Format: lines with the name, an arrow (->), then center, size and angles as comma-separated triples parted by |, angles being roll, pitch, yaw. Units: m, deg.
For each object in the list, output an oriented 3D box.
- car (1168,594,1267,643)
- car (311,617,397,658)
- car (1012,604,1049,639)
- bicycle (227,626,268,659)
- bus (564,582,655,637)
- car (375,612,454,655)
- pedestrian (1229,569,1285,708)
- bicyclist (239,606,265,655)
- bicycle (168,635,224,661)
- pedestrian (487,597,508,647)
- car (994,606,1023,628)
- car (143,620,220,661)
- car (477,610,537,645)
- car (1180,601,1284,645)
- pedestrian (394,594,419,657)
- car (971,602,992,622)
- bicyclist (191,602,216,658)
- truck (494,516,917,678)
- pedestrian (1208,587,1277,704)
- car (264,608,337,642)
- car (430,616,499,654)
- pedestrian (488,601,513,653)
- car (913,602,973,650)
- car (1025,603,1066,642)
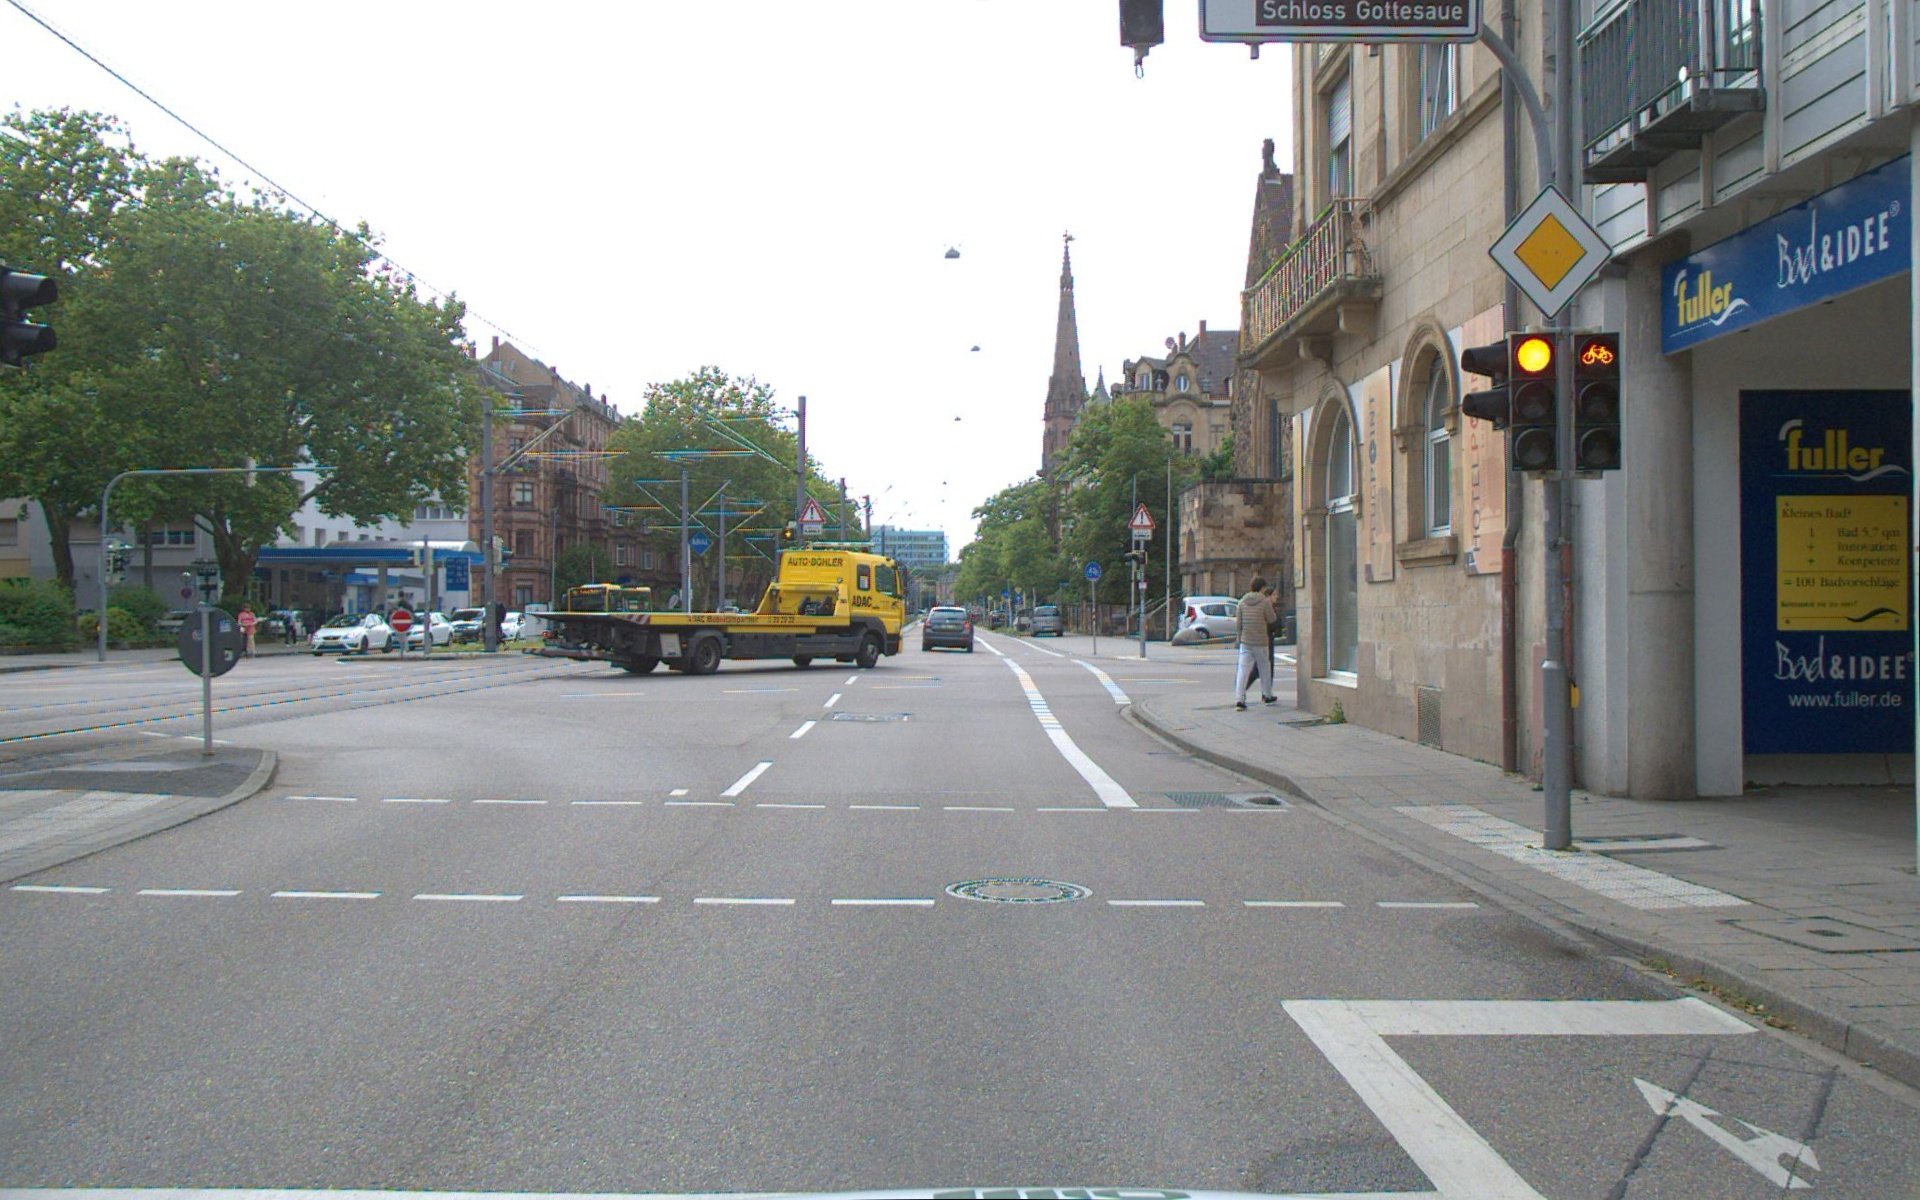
car -> 10.634, 0.776, 68.464 | 3.721, 1.937, 2.000 | 1, -1, -1
car -> -21.415, 1.311, 58.582 | 1.601, 1.349, 3.999 | 1, -1, -1
car -> 4.210, 1.283, 99.712 | 1.953, 2.049, 3.999 | 1, -1, -1
bicycle -> -23.524, 1.396, 54.628 | 0.511, 1.035, 1.936 | 1, -1, -1
bus -> -21.760, 0.607, 103.583 | 3.022, 3.166, 13.091 | 1, -1, -1
car -> -21.388, 1.296, 64.994 | 1.856, 1.585, 3.835 | 1, -1, -1
pedestrian -> 4.081, 0.523, 22.696 | 0.571, 1.845, 1.015 | 1, -1, 19
bicyclist -> -23.522, 1.001, 54.946 | 0.576, 1.595, 0.618 | 1, -1, -1
bicycle -> -24.929, 1.561, 53.981 | 1.645, 0.786, 0.656 | 1, -1, 20
pedestrian -> -14.444, 0.686, 51.658 | 0.535, 1.564, 0.465 | 1, -1, -5
car -> 3.745, 1.293, 128.519 | 1.953, 1.635, 4.163 | -2, 0, -1
car -> -32.538, 1.673, 69.251 | 1.859, 1.585, 3.828 | 1, -1, -9
car -> -21.542, 1.303, 78.803 | 1.856, 1.585, 3.835 | 1, -1, -1
car -> 10.681, 0.900, 65.054 | 3.721, 1.629, 2.000 | 1, -1, -1
pedestrian -> -16.353, 0.748, 48.894 | 0.562, 1.826, 0.518 | 1, -1, -5
car -> 2.240, 1.288, 172.483 | 1.953, 2.049, 3.999 | 1, -1, -1
bicyclist -> -24.717, 0.980, 54.033 | 0.522, 1.815, 0.470 | 1, -1, 19
truck -> -5.023, -0.023, 35.422 | 2.585, 2.992, 10.139 | 0, 0, 36
pedestrian -> 4.184, 0.664, 24.489 | 0.616, 1.681, 0.993 | 0, -1, 36
car -> -31.859, 1.197, 79.973 | 1.953, 1.557, 3.999 | 1, -1, -1
car -> -21.490, 1.487, 71.908 | 1.856, 1.585, 3.835 | 1, -1, -1
pedestrian -> -14.186, 0.834, 51.091 | 0.640, 1.564, 0.465 | 1, -1, -5
car -> -0.606, 0.856, 55.420 | 1.799, 1.495, 3.989 | 1, -1, -4
car -> 4.640, 1.210, 90.148 | 1.953, 2.049, 3.999 | 1, -1, -1
